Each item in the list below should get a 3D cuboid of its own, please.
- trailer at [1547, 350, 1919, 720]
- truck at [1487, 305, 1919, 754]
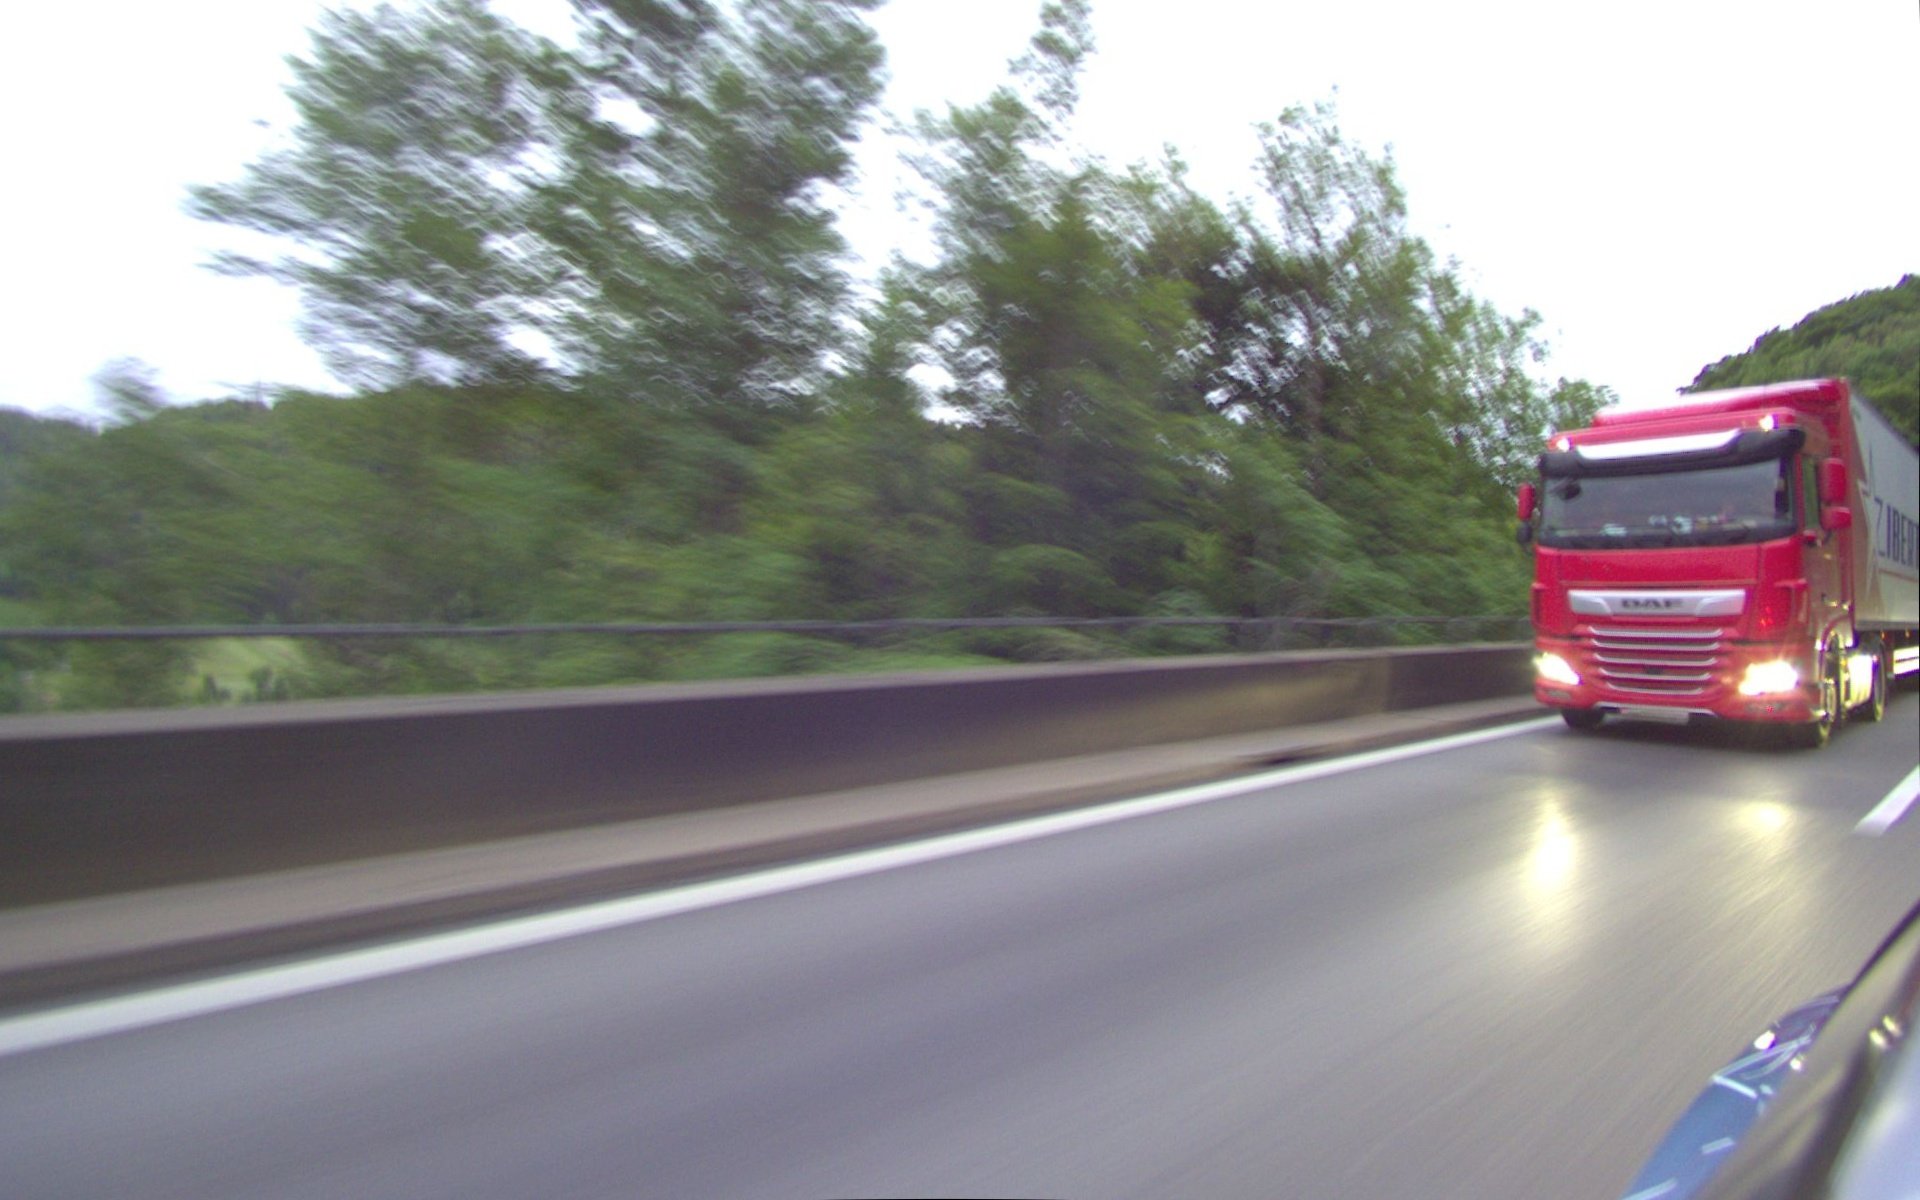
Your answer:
[{"bbox_3d":[14.031,-0.682,16.770,13.969,4.020,3.103,1,1,-41],"label":"trailer"},{"bbox_3d":[9.544,-0.668,12.705,6.334,4.197,3.074,0,-1,-41],"label":"truck"}]
